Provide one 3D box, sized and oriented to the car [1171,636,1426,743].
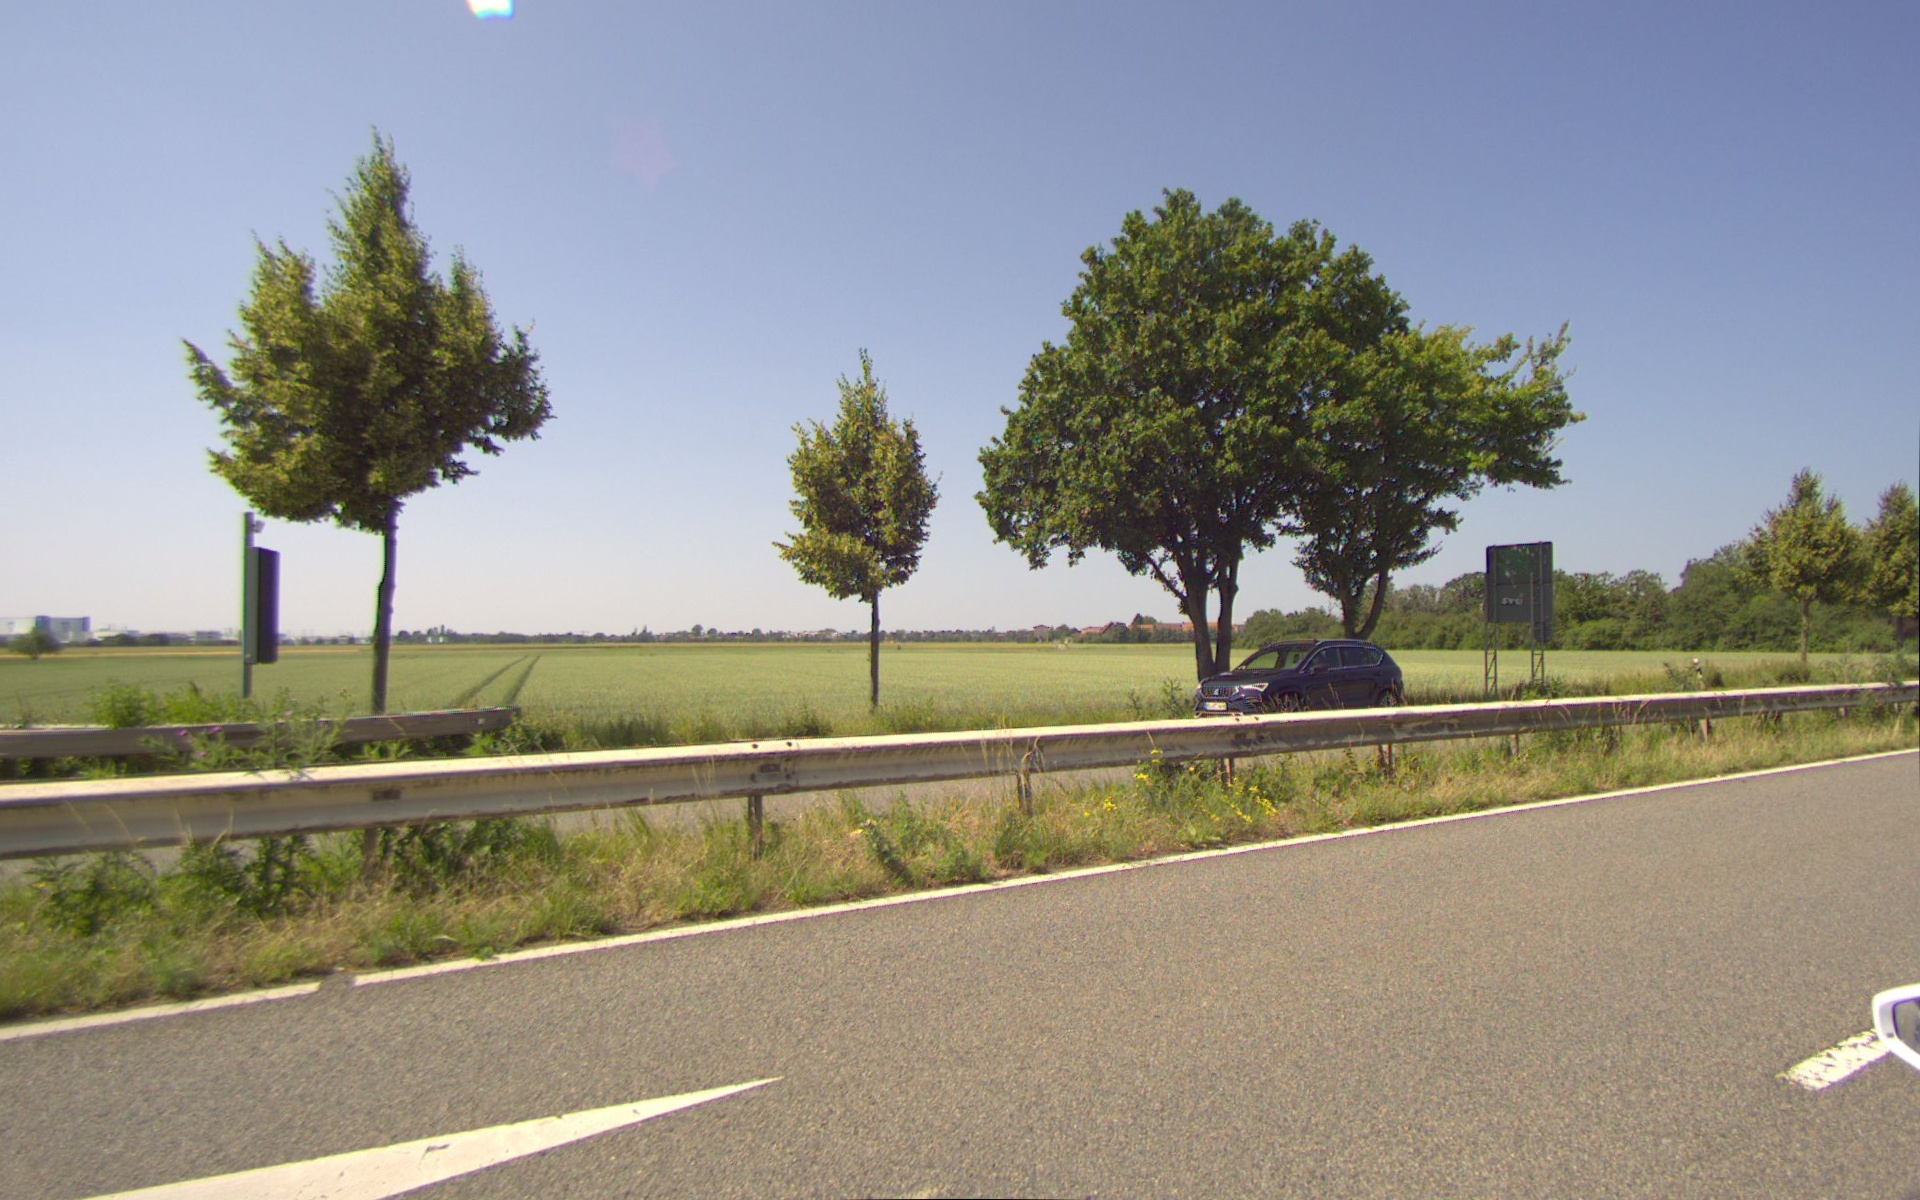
[{"bbox_3d":[6.114,1.507,18.043,4.429,1.684,1.984,1,-2,-31],"label":"car"}]
